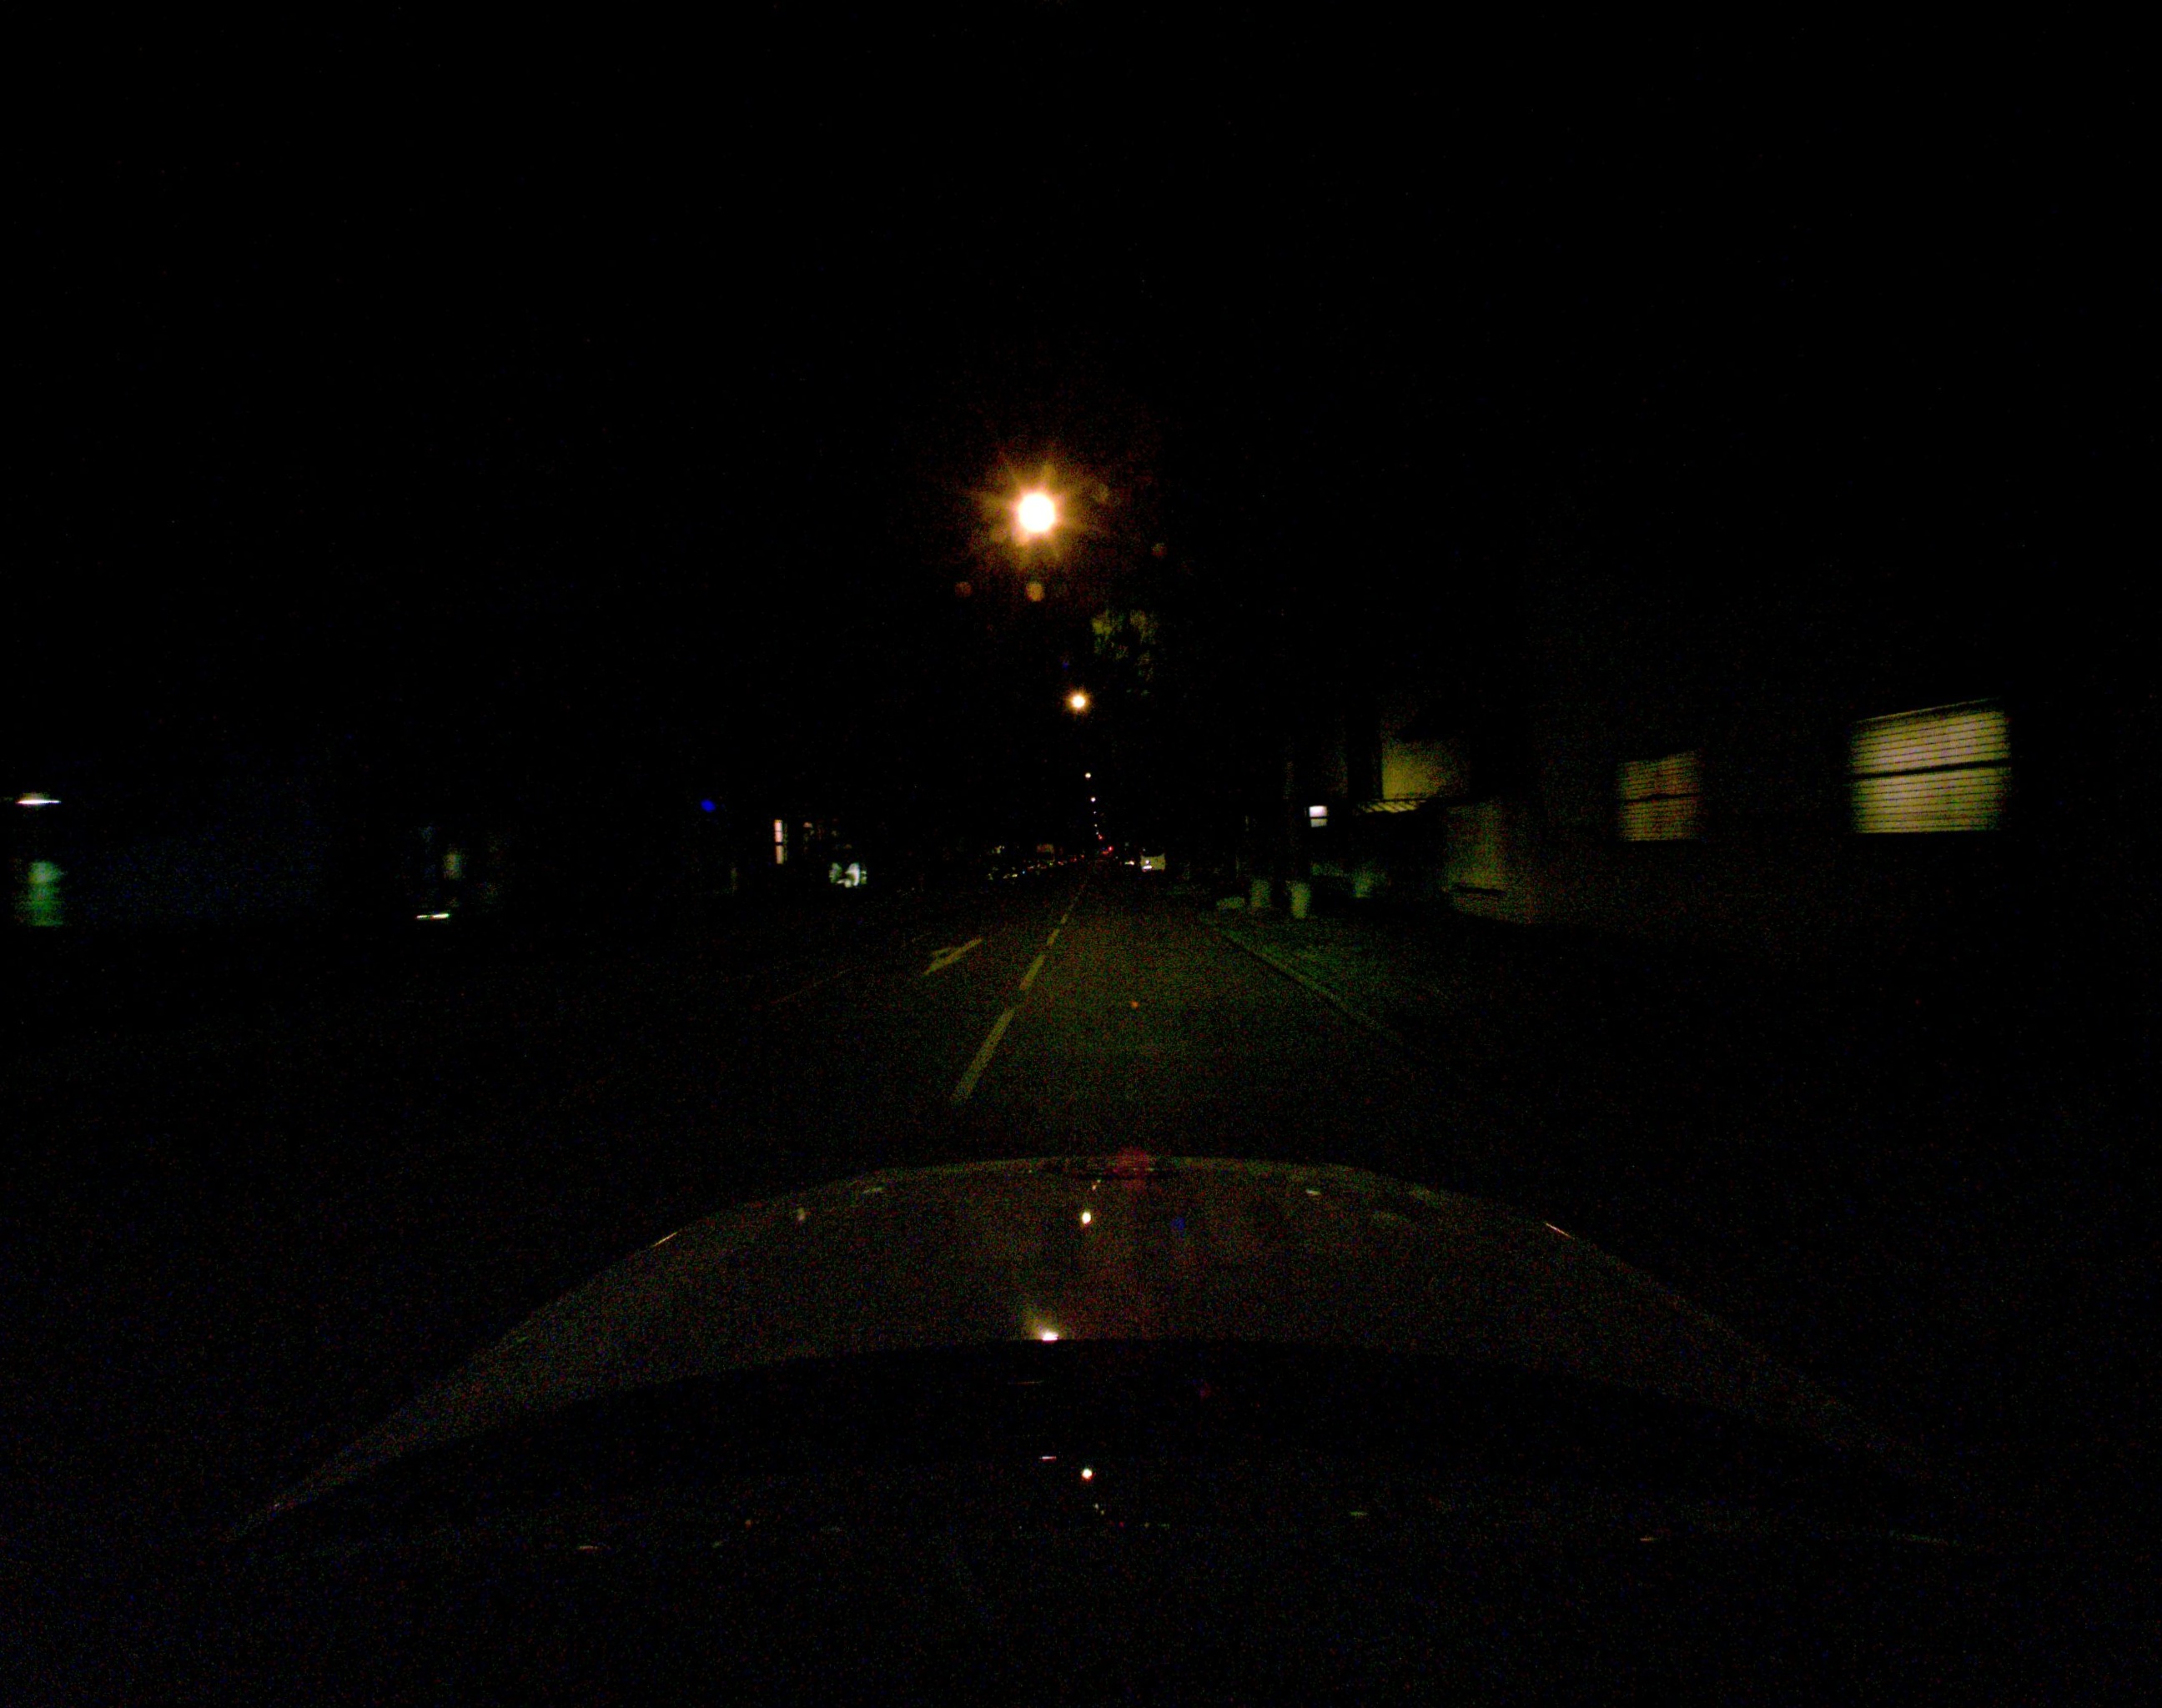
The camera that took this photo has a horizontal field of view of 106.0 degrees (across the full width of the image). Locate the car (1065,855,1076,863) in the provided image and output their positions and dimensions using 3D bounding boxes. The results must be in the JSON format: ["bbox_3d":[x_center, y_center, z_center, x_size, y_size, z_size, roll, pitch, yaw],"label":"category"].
[{"bbox_3d":[-1.917,0.954,147.868,1.693,1.433,3.831,0,0,3],"label":"car"}]

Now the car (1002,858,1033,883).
[{"bbox_3d":[-4.153,1.072,53.536,1.637,1.504,3.904,-1,0,0],"label":"car"}]

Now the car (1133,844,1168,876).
[{"bbox_3d":[4.672,0.384,55.264,1.944,1.964,4.603,-3,0,0],"label":"car"}]

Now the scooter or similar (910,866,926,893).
[{"bbox_3d":[-7.725,1.194,38.539,0.365,1.204,1.428,-4,0,2],"label":"scooter or similar"}]

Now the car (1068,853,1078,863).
[{"bbox_3d":[-1.508,0.761,155.268,1.815,1.811,4.213,0,0,3],"label":"car"}]

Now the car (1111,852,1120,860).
[{"bbox_3d":[7.074,0.353,168.262,1.846,1.654,4.211,-2,0,2],"label":"car"}]

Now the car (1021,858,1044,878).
[{"bbox_3d":[-3.837,1.072,64.345,1.542,1.455,3.368,-2,0,0],"label":"car"}]

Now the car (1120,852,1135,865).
[{"bbox_3d":[5.582,0.542,97.610,1.661,1.429,4.152,-5,0,4],"label":"car"}]

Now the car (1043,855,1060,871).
[{"bbox_3d":[-3.284,0.992,92.333,1.736,1.606,4.297,-2,0,-1],"label":"car"}]

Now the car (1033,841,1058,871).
[{"bbox_3d":[-3.503,0.192,81.386,2.171,2.909,4.910,-2,0,0],"label":"car"}]

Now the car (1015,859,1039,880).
[{"bbox_3d":[-3.941,1.086,59.634,1.440,1.429,3.904,-1,0,1],"label":"car"}]

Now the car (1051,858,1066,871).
[{"bbox_3d":[-2.878,1.347,103.133,1.710,1.502,4.206,-1,0,1],"label":"car"}]

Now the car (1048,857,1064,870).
[{"bbox_3d":[-3.007,1.103,98.122,1.699,1.411,4.634,-3,1,1],"label":"car"}]

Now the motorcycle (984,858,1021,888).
[{"bbox_3d":[-4.251,1.044,44.119,1.907,1.550,0.635,-2,0,-19],"label":"motorcycle"}]

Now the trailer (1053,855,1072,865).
[{"bbox_3d":[-2.505,0.801,110.942,2.102,1.335,5.438,-1,0,3],"label":"trailer"}]

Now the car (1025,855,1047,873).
[{"bbox_3d":[-3.834,0.833,69.796,1.640,1.505,3.860,-1,0,0],"label":"car"}]

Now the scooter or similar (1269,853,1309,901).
[{"bbox_3d":[5.657,0.618,22.244,0.545,1.203,1.911,-4,-1,1],"label":"scooter or similar"}]
